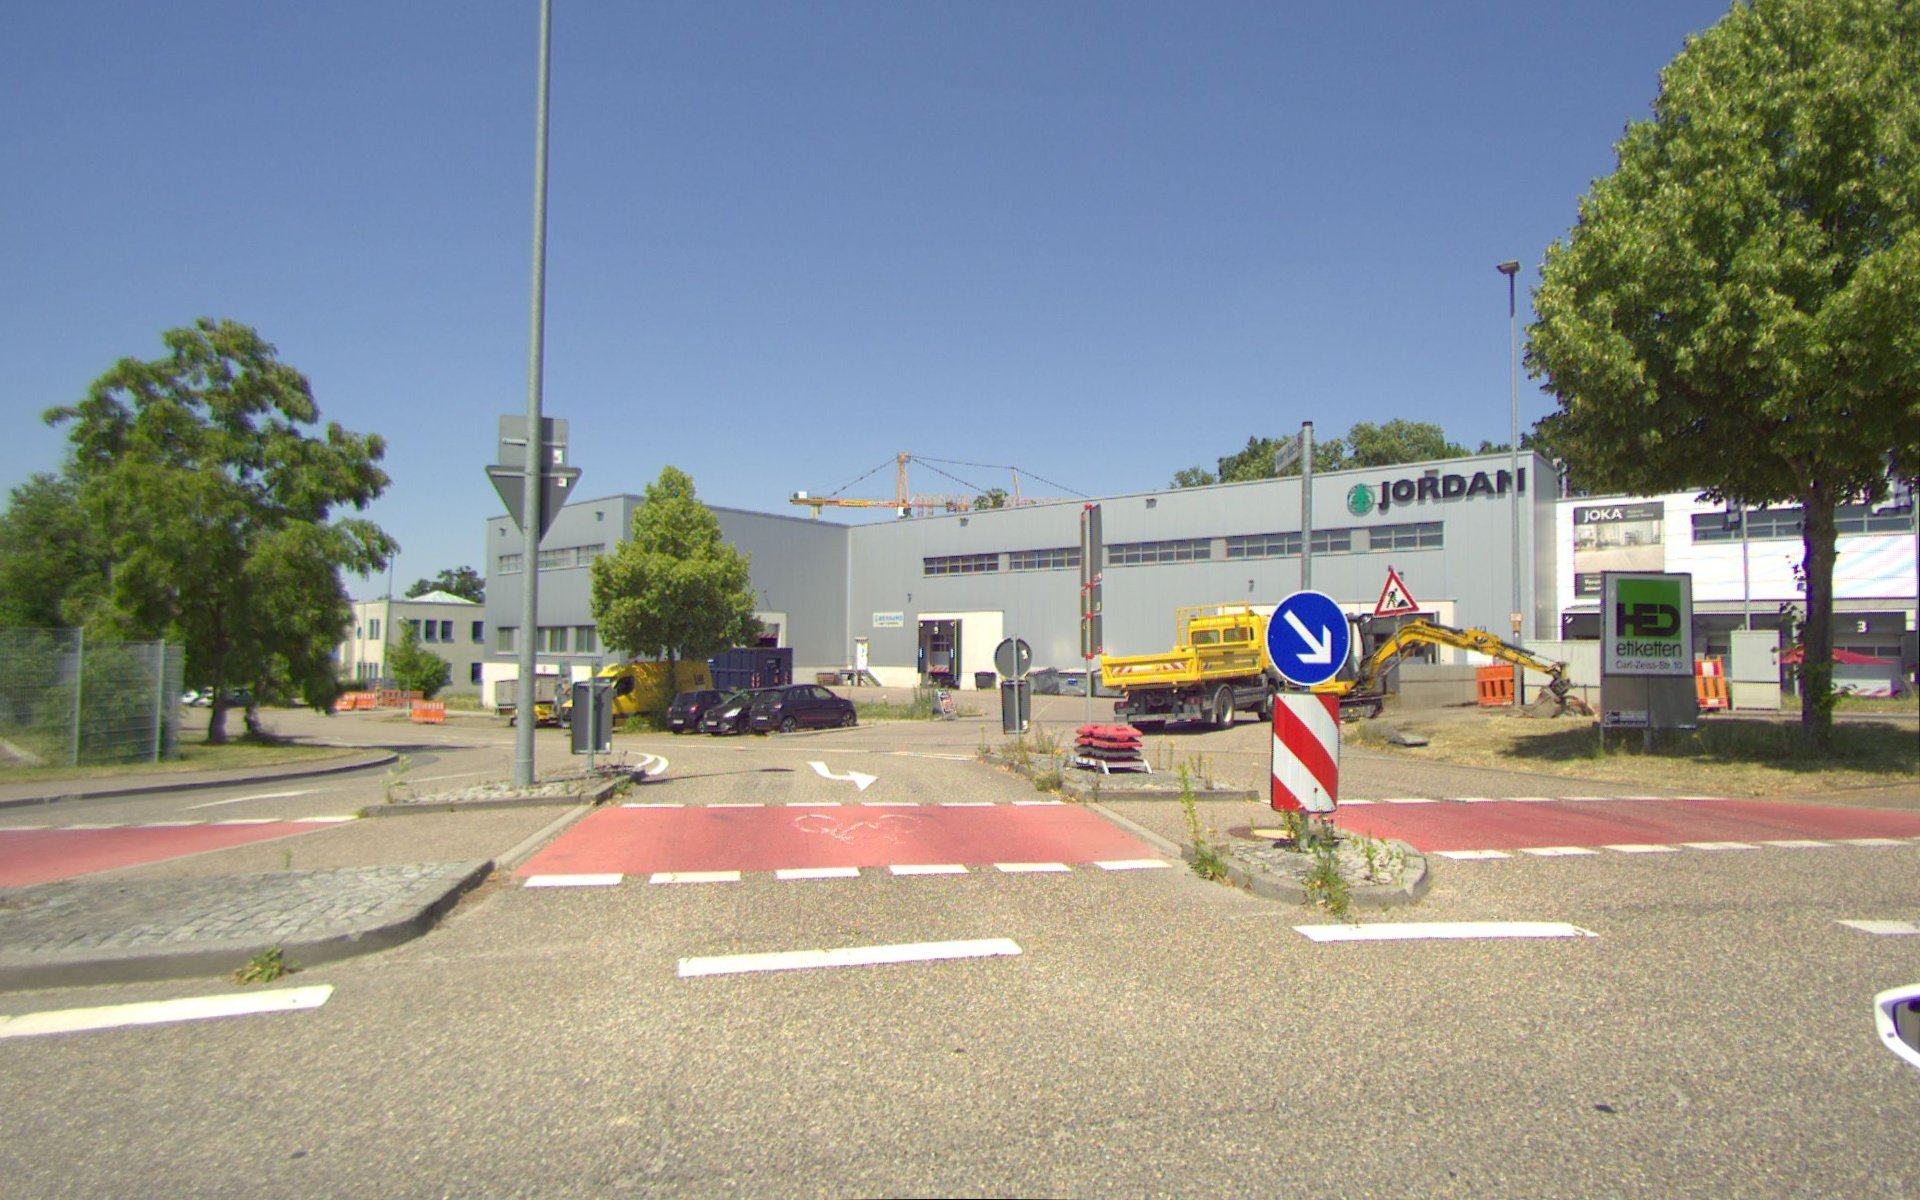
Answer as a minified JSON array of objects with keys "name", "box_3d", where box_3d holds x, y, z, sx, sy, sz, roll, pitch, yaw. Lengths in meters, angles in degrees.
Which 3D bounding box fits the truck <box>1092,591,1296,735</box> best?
[{"name":"truck","box_3d":[6.111,1.533,25.472,2.555,3.176,6.401,-5,-4,36]}]

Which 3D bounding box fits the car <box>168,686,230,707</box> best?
[{"name":"car","box_3d":[-58.846,7.462,77.704,1.513,1.372,3.515,-4,-3,36]}]

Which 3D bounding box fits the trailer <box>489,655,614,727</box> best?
[{"name":"trailer","box_3d":[-17.687,3.894,43.390,5.434,2.894,2.655,-4,-4,37]}]

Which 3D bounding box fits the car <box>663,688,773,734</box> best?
[{"name":"car","box_3d":[-8.541,3.916,35.706,1.603,1.497,3.599,-4,-6,39]}]

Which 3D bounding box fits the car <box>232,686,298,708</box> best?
[{"name":"car","box_3d":[-50.611,7.041,73.180,1.619,1.372,3.678,-4,-3,36]}]

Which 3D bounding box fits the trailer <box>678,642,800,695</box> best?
[{"name":"trailer","box_3d":[-12.025,3.657,54.241,7.309,2.452,2.653,0,-4,43]}]

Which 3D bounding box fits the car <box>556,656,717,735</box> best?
[{"name":"car","box_3d":[-12.263,3.548,38.518,1.970,2.768,5.773,-3,-4,39]}]

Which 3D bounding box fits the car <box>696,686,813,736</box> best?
[{"name":"car","box_3d":[-6.857,3.685,33.795,1.566,1.526,3.768,-4,-5,38]}]

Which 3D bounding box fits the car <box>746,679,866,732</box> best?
[{"name":"car","box_3d":[-4.933,3.371,32.527,1.604,1.481,3.654,-5,-4,40]}]

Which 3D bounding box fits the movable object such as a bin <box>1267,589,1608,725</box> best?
[{"name":"movable object such as a bin","box_3d":[10.317,1.393,22.331,1.987,2.613,6.495,4,-7,-44]}]
